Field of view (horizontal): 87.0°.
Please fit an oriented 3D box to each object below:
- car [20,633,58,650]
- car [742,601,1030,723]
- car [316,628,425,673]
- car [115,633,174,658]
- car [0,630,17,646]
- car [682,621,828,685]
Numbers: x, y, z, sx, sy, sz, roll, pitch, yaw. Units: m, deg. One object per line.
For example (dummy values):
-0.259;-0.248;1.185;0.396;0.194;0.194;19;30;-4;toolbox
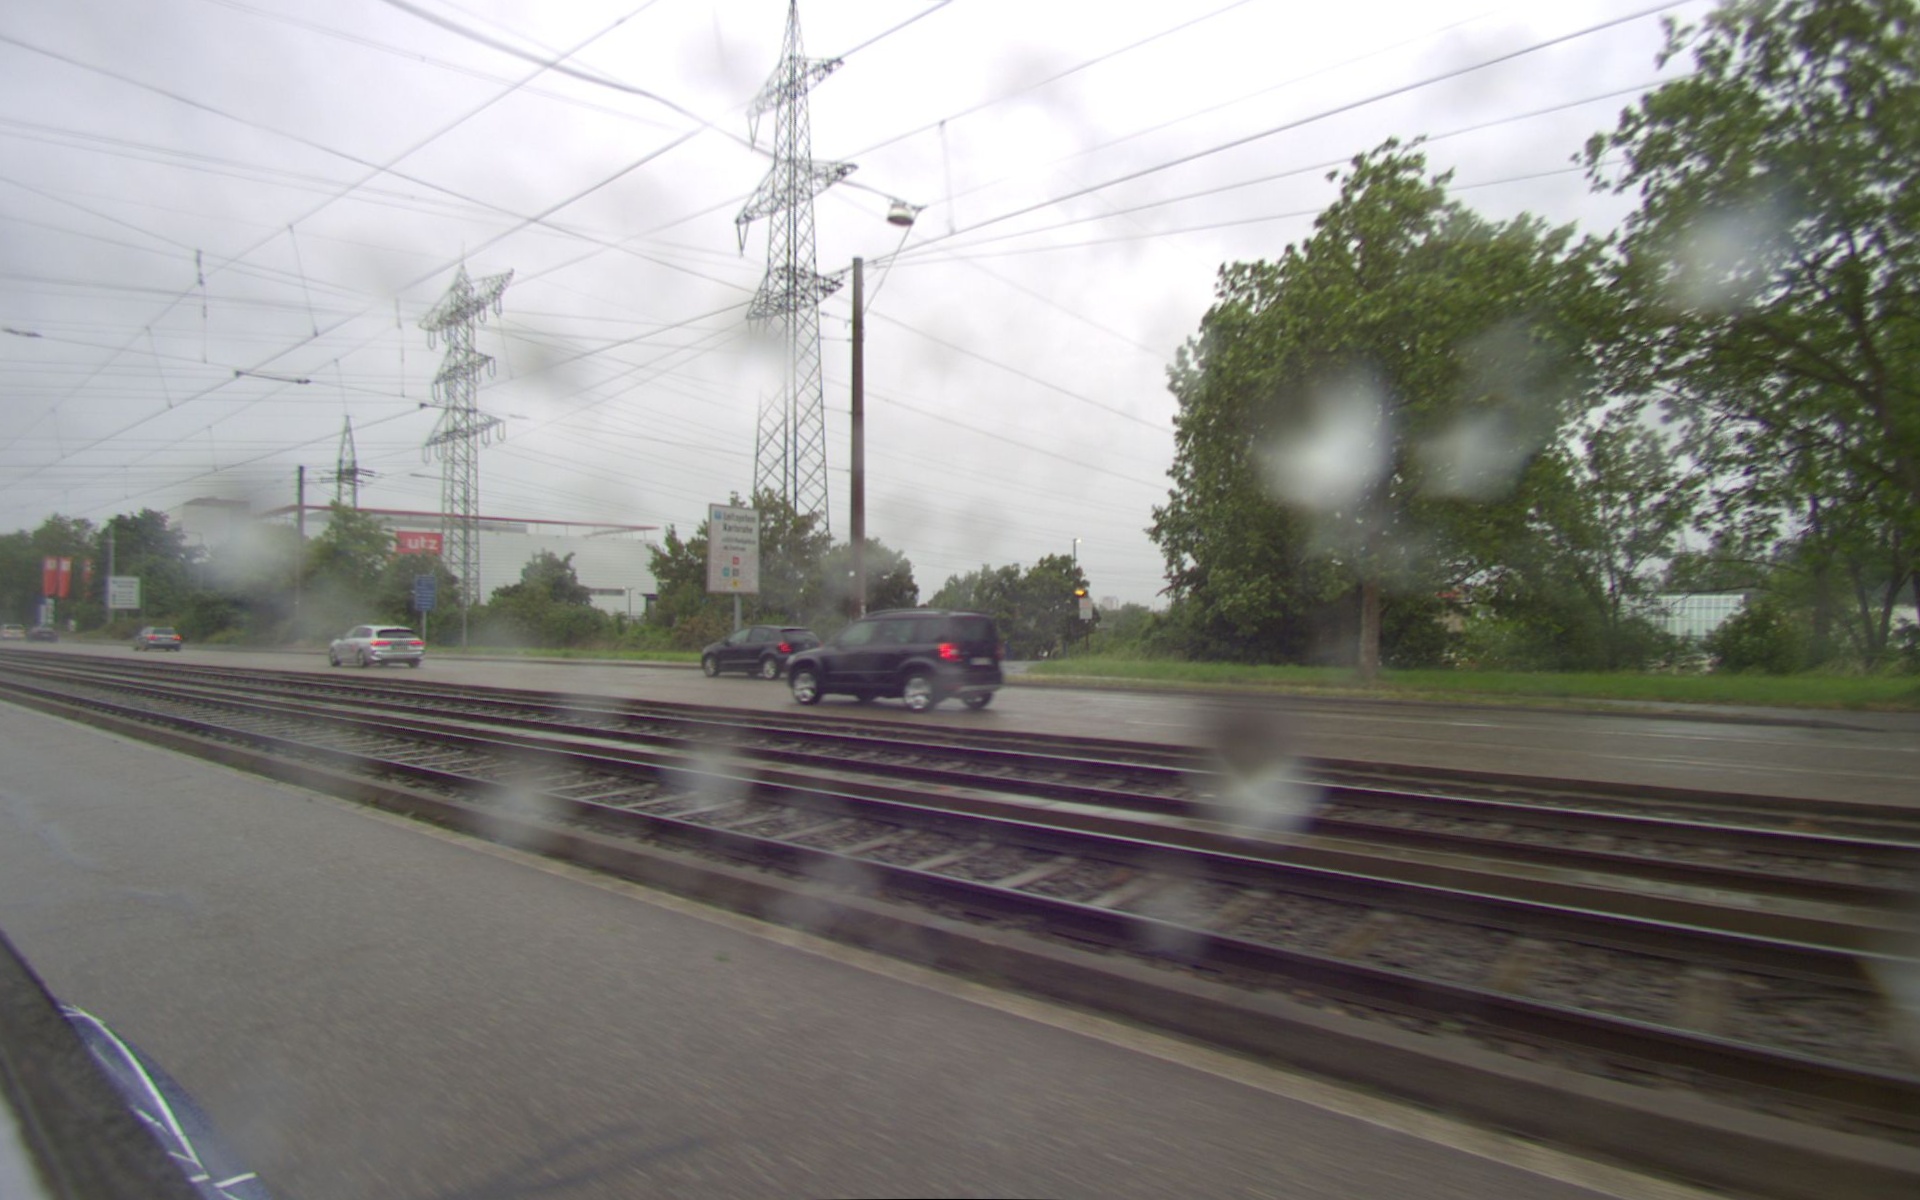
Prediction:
-81.508;3.677;89.539;5.250;1.475;1.972;-2;-4;42;car
-1.392;1.013;17.577;4.997;1.823;1.869;-2;-1;38;car
-20.024;1.701;34.286;4.541;1.364;1.724;-2;-1;40;car
-48.290;2.683;59.915;5.066;1.373;1.740;-2;-1;40;car
-94.748;3.781;99.815;5.060;1.586;1.824;-2;-1;39;car
-5.579;1.398;27.292;3.995;1.564;1.672;-2;-1;39;car
